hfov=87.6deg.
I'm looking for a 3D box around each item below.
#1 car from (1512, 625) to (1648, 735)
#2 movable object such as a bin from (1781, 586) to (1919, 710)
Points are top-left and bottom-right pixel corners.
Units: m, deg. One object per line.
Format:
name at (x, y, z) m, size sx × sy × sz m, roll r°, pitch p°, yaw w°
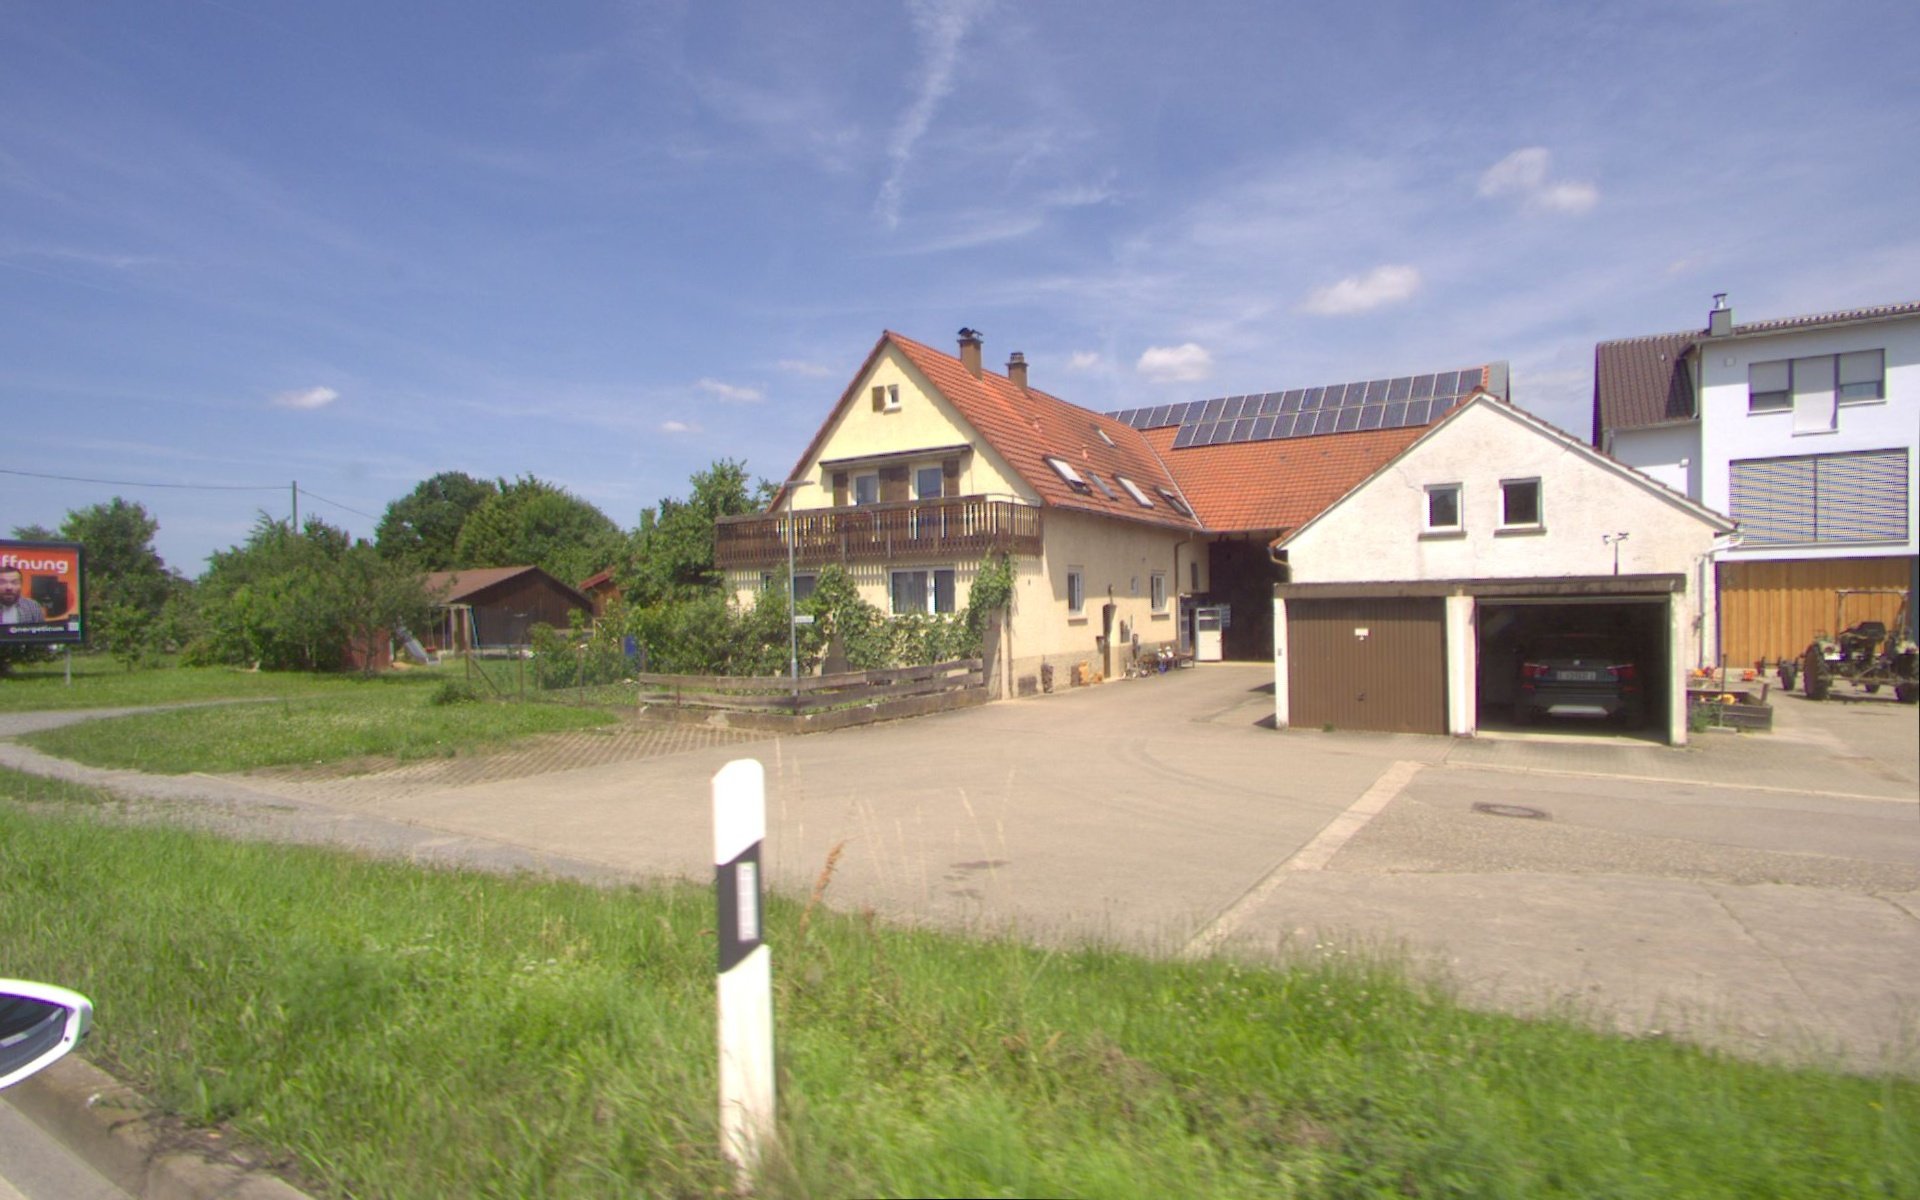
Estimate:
car at (10.797, 1.288, 17.504) m, size 1.808 × 1.599 × 3.979 m, roll -1°, pitch -1°, yaw 32°
movable object such as a bin at (18.943, 0.910, 21.179) m, size 2.050 × 2.375 × 3.698 m, roll 1°, pitch 1°, yaw 34°
